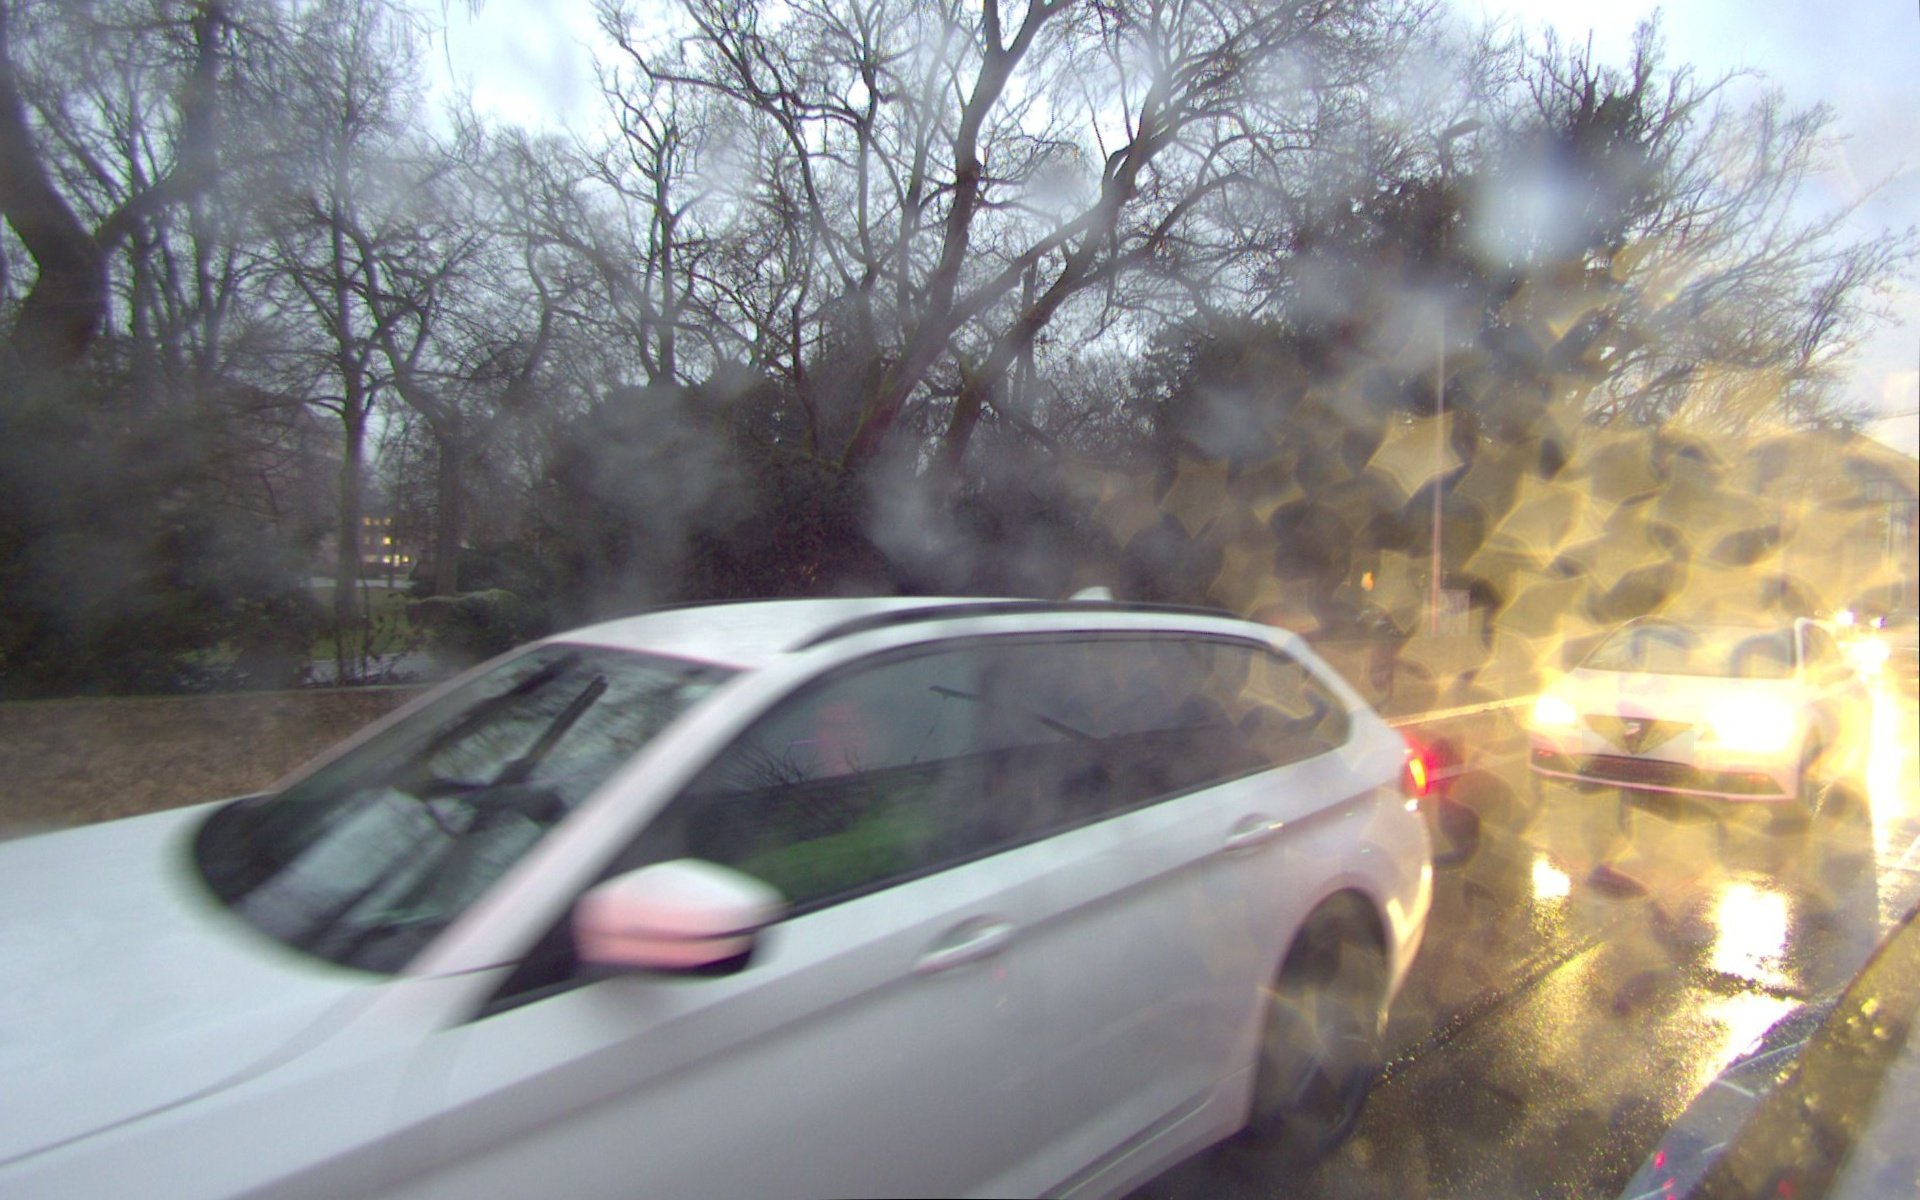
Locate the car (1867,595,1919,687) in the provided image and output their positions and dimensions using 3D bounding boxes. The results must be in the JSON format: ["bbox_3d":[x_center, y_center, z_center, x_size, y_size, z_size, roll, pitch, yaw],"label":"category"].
[{"bbox_3d":[19.034,0.736,19.392,4.196,1.648,2.070,0,0,-43],"label":"car"}]

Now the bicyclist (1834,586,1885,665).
[{"bbox_3d":[26.190,0.724,29.476,0.918,2.251,0.967,0,0,-40],"label":"bicyclist"}]

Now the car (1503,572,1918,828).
[{"bbox_3d":[6.361,0.618,8.411,4.097,1.580,1.885,0,2,-41],"label":"car"}]

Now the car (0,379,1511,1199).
[{"bbox_3d":[-0.649,0.549,2.434,4.851,1.575,1.866,0,2,-41],"label":"car"}]

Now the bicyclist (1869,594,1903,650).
[{"bbox_3d":[28.634,0.678,31.293,0.582,1.706,0.691,0,0,-41],"label":"bicyclist"}]

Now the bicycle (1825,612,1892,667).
[{"bbox_3d":[26.153,1.101,29.430,3.329,1.469,0.967,0,0,-40],"label":"bicycle"}]

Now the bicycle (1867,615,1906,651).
[{"bbox_3d":[28.670,0.993,31.317,1.691,1.055,0.691,0,0,-41],"label":"bicycle"}]

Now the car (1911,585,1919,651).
[{"bbox_3d":[26.013,0.429,25.840,4.193,1.648,2.072,0,0,-40],"label":"car"}]
